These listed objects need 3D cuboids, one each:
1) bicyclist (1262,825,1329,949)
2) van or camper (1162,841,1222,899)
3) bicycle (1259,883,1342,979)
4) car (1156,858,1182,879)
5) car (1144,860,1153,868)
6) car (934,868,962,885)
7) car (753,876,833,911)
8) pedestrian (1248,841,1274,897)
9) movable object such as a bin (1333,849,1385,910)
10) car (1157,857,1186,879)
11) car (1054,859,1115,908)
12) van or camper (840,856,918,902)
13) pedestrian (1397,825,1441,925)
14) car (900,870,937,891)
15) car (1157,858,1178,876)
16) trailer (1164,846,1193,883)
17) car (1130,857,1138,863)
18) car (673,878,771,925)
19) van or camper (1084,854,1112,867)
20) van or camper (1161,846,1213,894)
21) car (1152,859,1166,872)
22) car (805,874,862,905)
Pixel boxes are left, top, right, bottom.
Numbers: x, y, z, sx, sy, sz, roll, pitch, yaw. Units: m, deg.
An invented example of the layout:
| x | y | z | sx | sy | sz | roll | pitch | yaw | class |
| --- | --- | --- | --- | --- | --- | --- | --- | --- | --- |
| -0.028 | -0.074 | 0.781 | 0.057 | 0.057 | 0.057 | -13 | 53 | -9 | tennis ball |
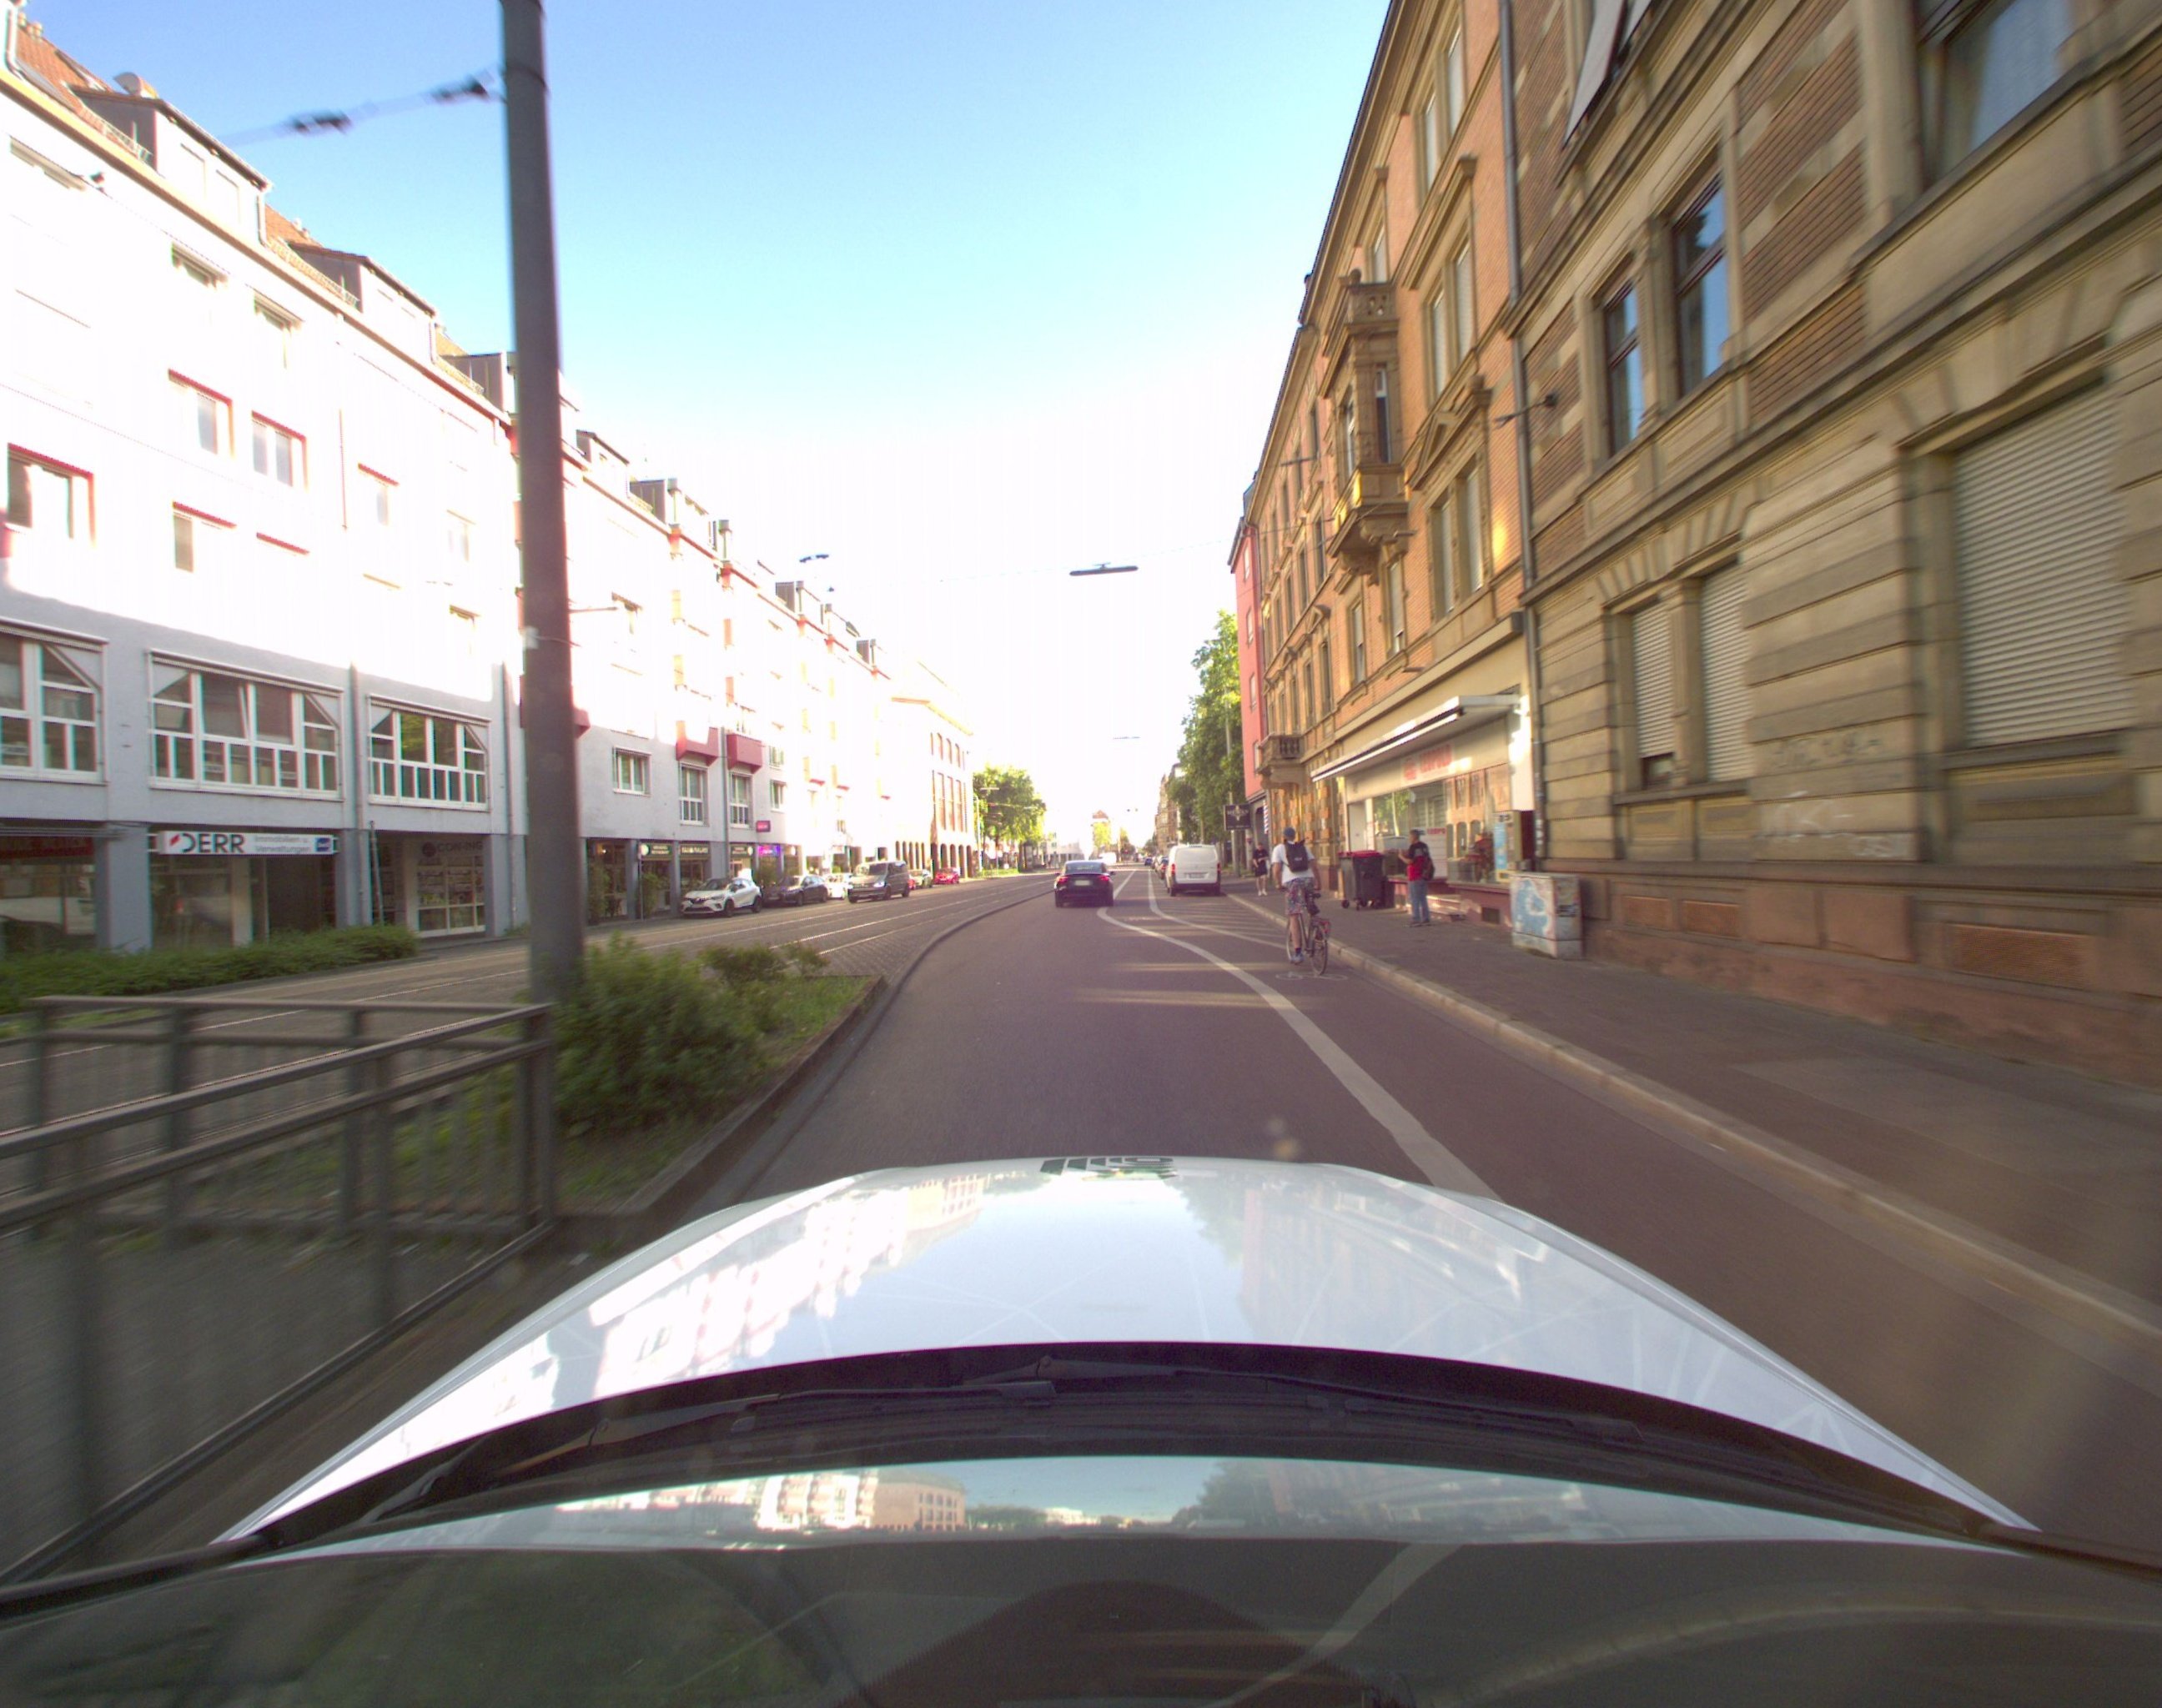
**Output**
| x | y | z | sx | sy | sz | roll | pitch | yaw | class |
| --- | --- | --- | --- | --- | --- | --- | --- | --- | --- |
| 2.986 | 0.447 | 11.416 | 0.652 | 1.656 | 0.928 | -2 | -1 | 2 | bicyclist |
| 4.245 | 0.623 | 31.898 | 1.922 | 2.037 | 5.480 | -1 | -1 | 4 | van or camper |
| 3.010 | 1.013 | 11.374 | 0.645 | 1.139 | 2.096 | -2 | -1 | 2 | bicycle |
| 6.710 | 1.071 | 61.859 | 1.739 | 1.443 | 4.326 | -2 | 0 | 9 | car |
| 12.727 | 1.843 | 153.197 | 1.586 | 1.433 | 3.691 | -3 | -1 | 5 | car |
| -11.724 | 1.987 | 71.980 | 1.652 | 1.422 | 3.624 | -1 | -1 | 4 | car |
| -14.158 | 1.886 | 40.344 | 1.893 | 1.458 | 4.831 | -3 | -1 | 4 | car |
| 6.011 | 0.500 | 27.266 | 0.670 | 1.814 | 0.756 | -3 | -1 | 3 | pedestrian |
| 6.482 | 0.587 | 19.027 | 0.772 | 1.347 | 1.300 | -3 | -1 | 3 | movable object such as a bin |
| 6.303 | 0.971 | 57.243 | 1.795 | 1.435 | 4.327 | 0 | -1 | 3 | car |
| 0.177 | 0.908 | 26.457 | 1.712 | 1.405 | 3.713 | -2 | 0 | 3 | car |
| -9.861 | 1.169 | 40.168 | 1.983 | 1.940 | 4.843 | -5 | -1 | 7 | van or camper |
| 6.016 | 0.370 | 14.487 | 0.465 | 1.728 | 0.591 | -3 | 0 | 40 | pedestrian |
| -12.374 | 2.008 | 62.258 | 1.661 | 1.468 | 4.295 | -1 | 0 | 4 | car |
| 7.823 | 1.170 | 73.819 | 1.706 | 1.590 | 4.068 | -1 | 0 | 3 | car |
| 5.872 | 0.618 | 49.259 | 1.652 | 2.117 | 3.848 | -1 | -1 | 6 | trailer |
| 14.732 | 1.655 | 227.293 | 1.987 | 1.525 | 4.000 | -3 | 0 | 0 | car |
| -14.647 | 1.881 | 33.496 | 1.910 | 1.614 | 4.371 | -3 | -1 | 2 | car |
| 4.216 | 1.538 | 196.225 | 6.917 | 2.654 | 2.121 | -2 | -1 | -40 | van or camper |
| 4.839 | 0.701 | 37.892 | 1.962 | 2.046 | 5.335 | -1 | -1 | 3 | van or camper |
| 9.834 | 1.452 | 102.807 | 1.703 | 1.457 | 4.555 | -2 | -1 | 4 | car |
| -13.787 | 1.953 | 45.625 | 1.745 | 1.475 | 4.209 | -3 | -1 | 1 | car |
